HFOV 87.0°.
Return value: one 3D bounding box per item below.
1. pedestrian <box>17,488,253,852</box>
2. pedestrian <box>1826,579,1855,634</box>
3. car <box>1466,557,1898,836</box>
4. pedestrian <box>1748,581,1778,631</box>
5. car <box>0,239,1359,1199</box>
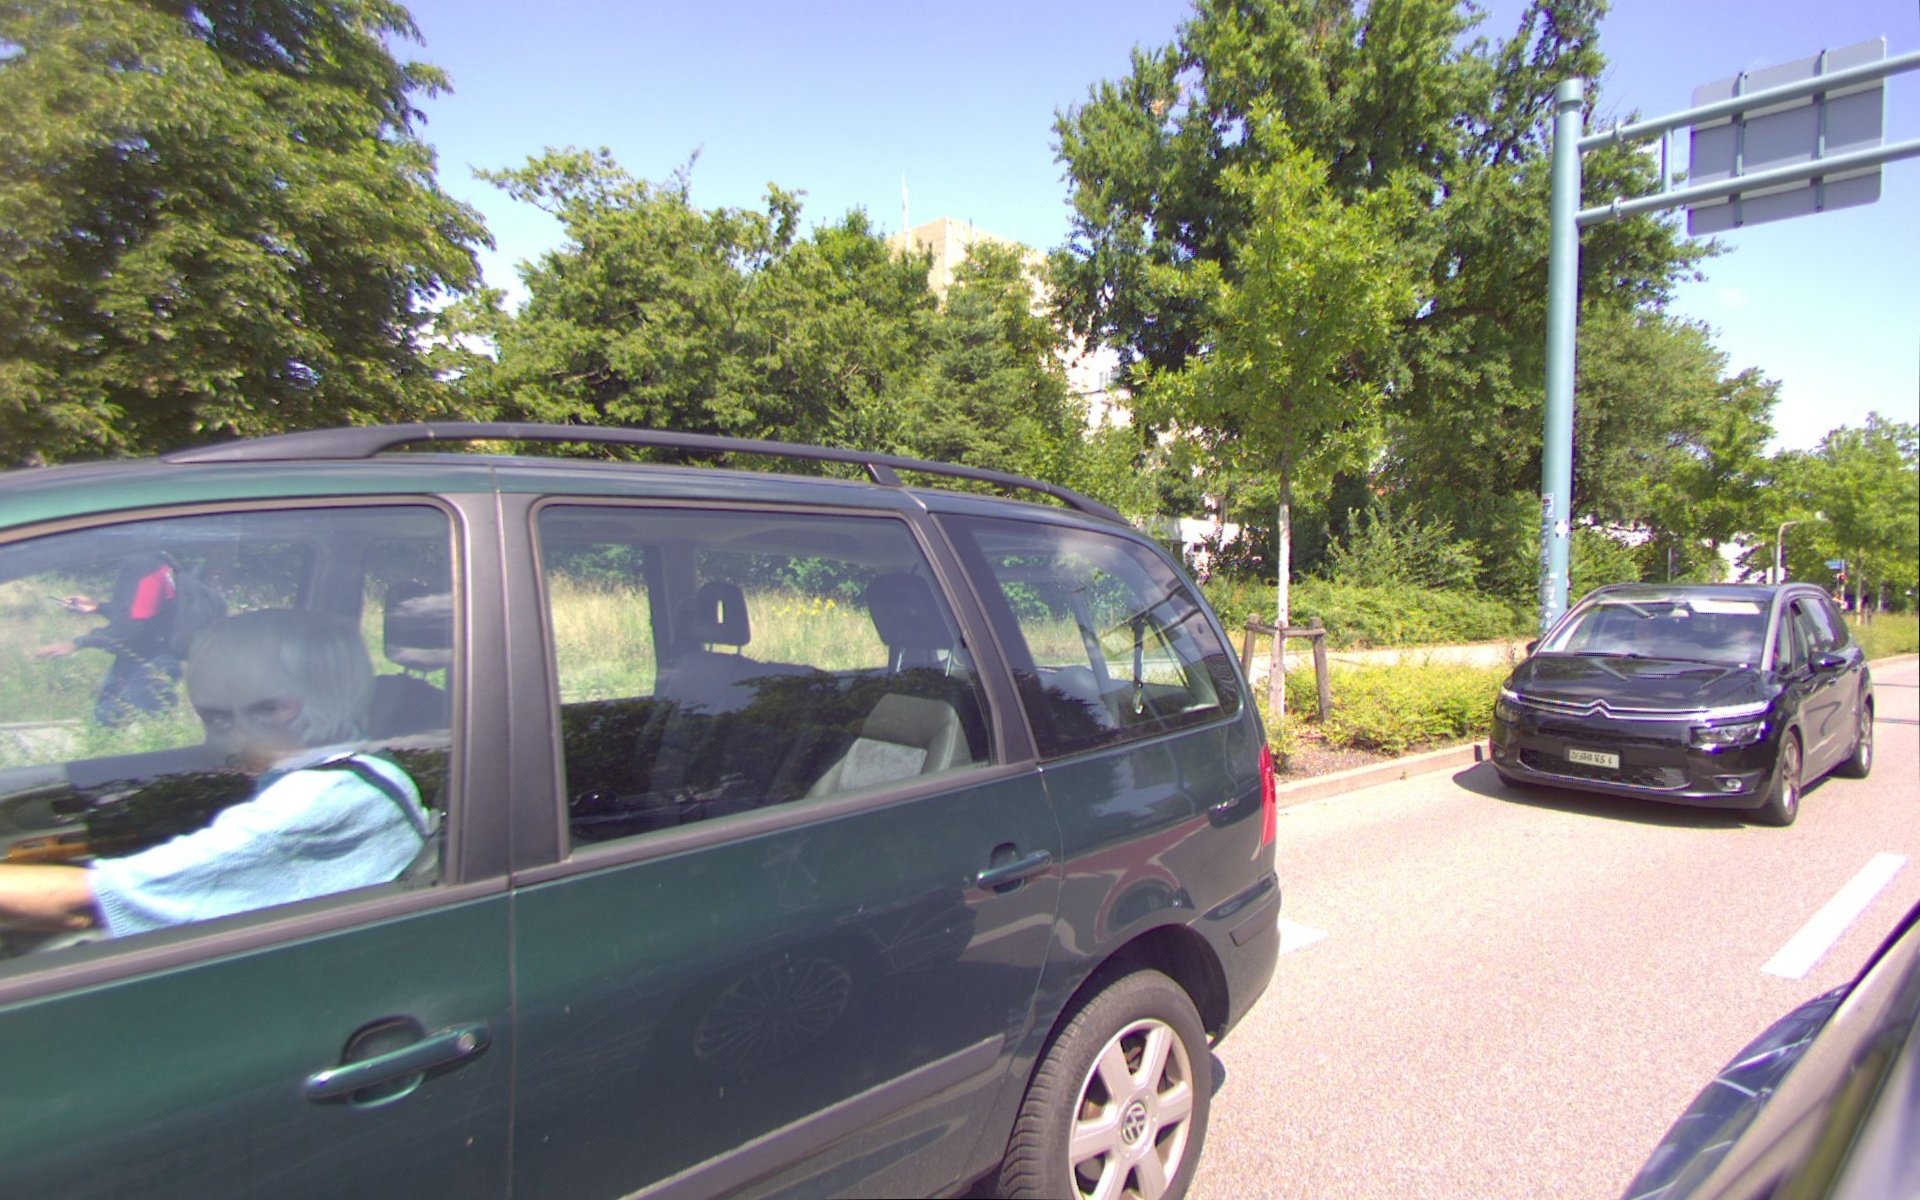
[{"bbox_3d":[-4.227,0.322,5.257,0.799,1.705,0.762,1,1,-29],"label":"pedestrian"},{"bbox_3d":[29.285,0.210,33.639,0.872,1.787,0.638,1,1,-45],"label":"pedestrian"},{"bbox_3d":[5.905,0.579,8.056,4.400,1.628,1.815,1,-1,-41],"label":"car"},{"bbox_3d":[33.470,0.233,42.214,0.840,2.063,0.891,1,0,32],"label":"pedestrian"},{"bbox_3d":[-1.145,0.529,1.959,4.315,1.737,1.804,0,-1,-41],"label":"car"}]
